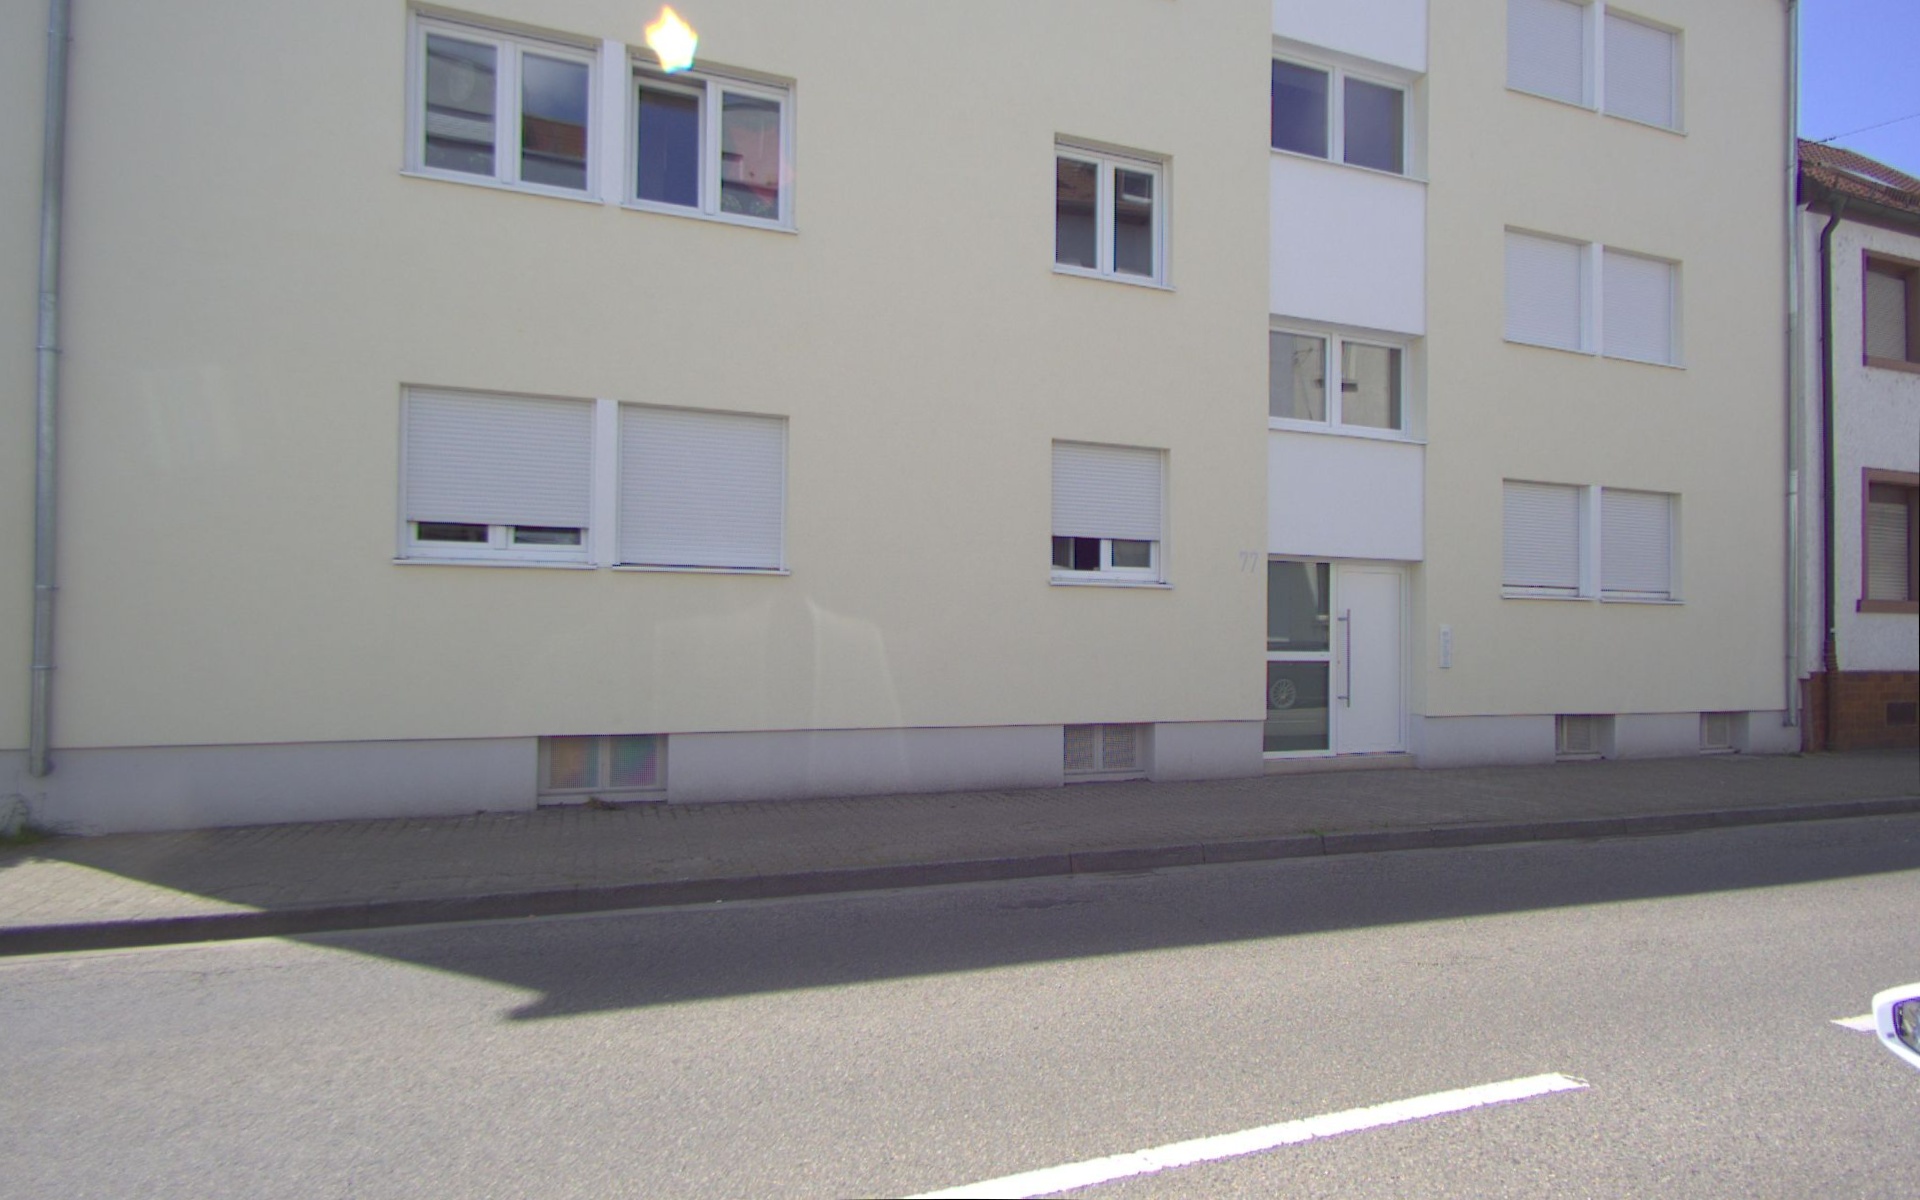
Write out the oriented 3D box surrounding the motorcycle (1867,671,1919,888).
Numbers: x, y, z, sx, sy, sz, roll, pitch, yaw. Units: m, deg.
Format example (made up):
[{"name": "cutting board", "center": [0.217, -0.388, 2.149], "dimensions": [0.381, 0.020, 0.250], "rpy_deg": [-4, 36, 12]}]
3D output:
[{"name": "motorcycle", "center": [6.433, 1.033, 5.798], "dimensions": [2.175, 1.191, 0.895], "rpy_deg": [2, -1, -21]}]
